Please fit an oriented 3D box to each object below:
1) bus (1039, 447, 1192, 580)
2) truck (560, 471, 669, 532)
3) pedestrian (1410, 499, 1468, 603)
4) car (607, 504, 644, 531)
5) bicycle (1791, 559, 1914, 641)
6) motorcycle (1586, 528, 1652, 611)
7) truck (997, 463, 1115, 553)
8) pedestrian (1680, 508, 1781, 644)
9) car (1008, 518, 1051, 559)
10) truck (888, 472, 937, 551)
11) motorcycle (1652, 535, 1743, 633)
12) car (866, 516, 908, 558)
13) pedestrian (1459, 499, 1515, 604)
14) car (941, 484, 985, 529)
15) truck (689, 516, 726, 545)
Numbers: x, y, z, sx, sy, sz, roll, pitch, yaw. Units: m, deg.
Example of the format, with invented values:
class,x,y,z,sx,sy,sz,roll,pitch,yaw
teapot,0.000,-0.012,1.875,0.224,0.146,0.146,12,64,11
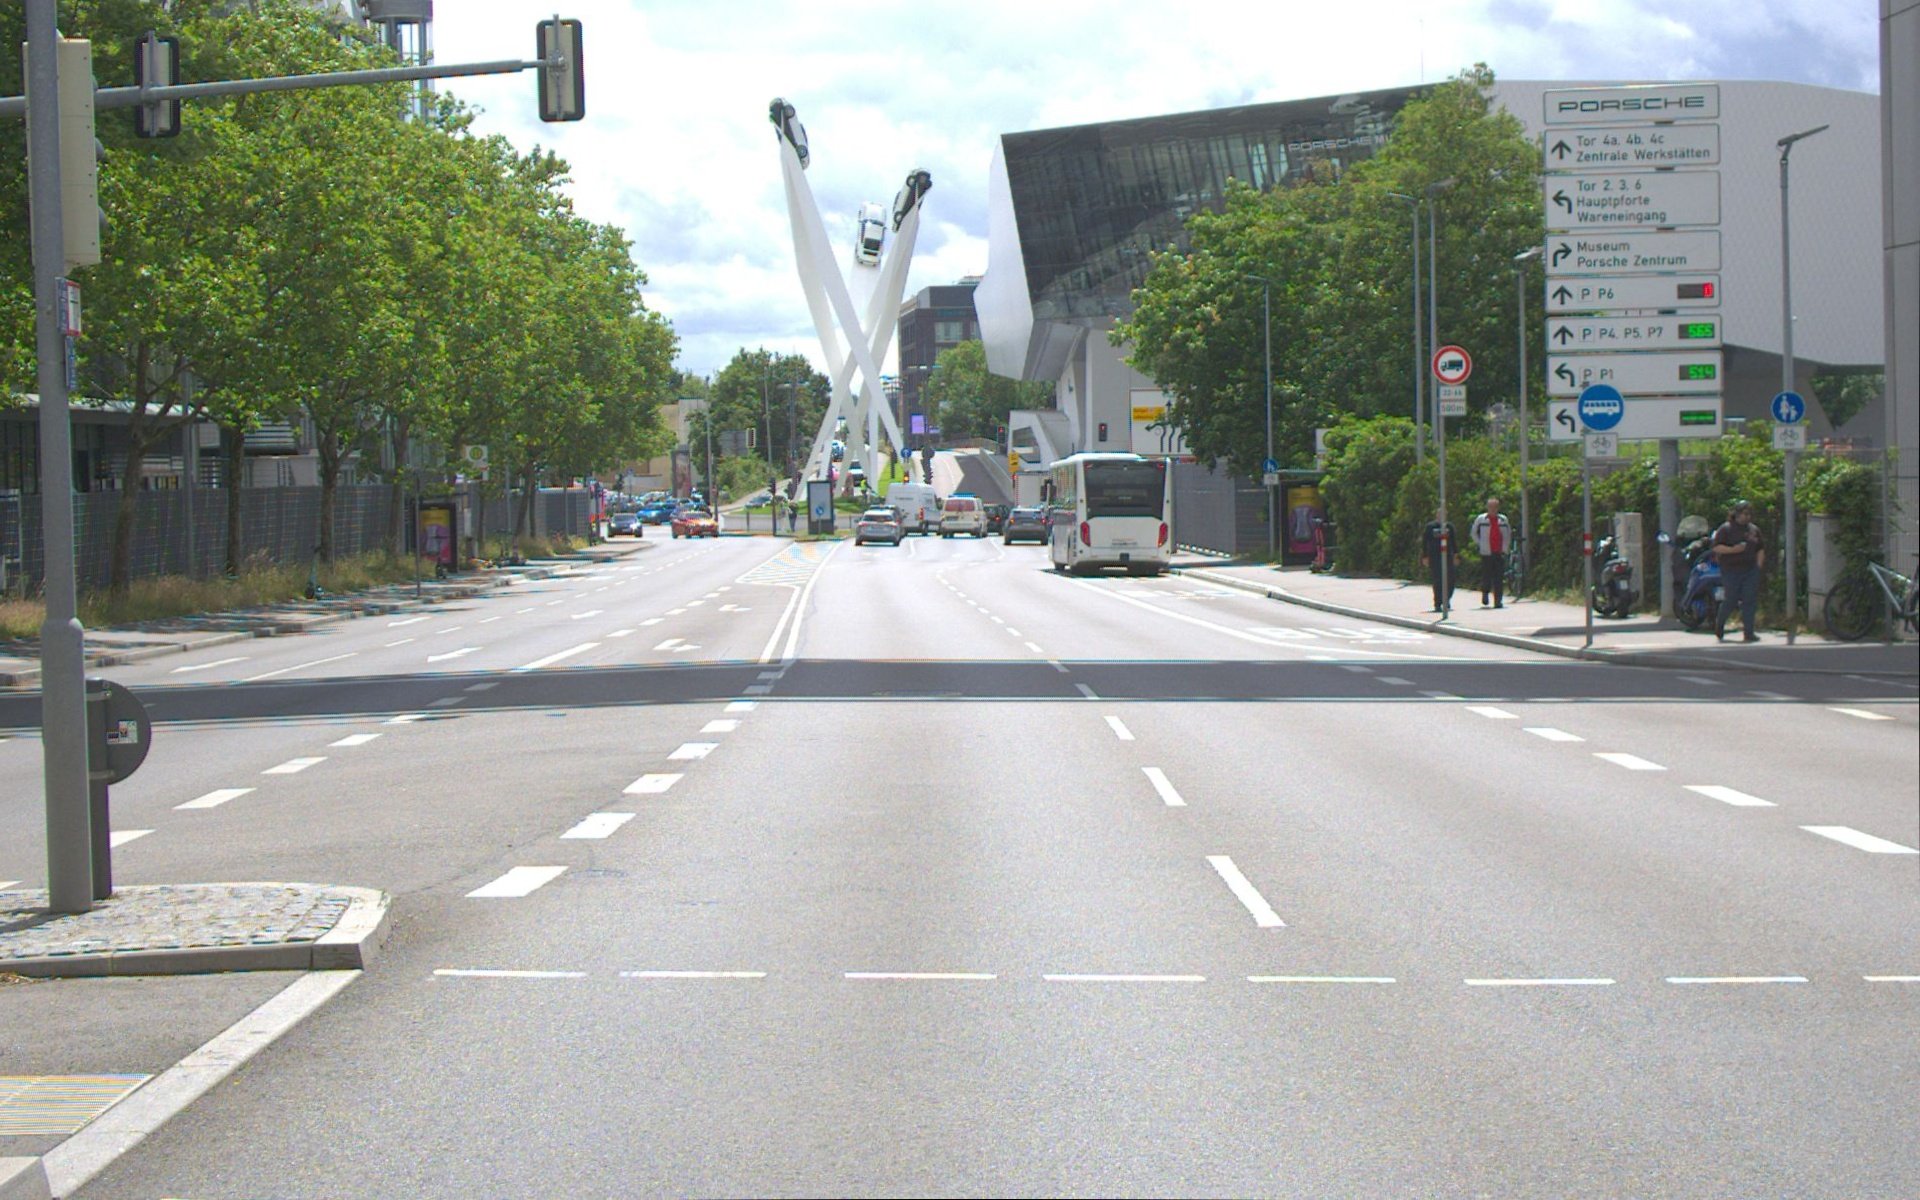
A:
class,x,y,z,sx,sy,sz,roll,pitch,yaw
bus,4.230,-2.391,96.264,3.452,3.531,10.607,0,1,-2
truck,-23.514,-6.695,234.340,7.058,3.880,2.485,1,0,-37
pedestrian,7.958,-0.818,57.125,0.820,1.701,0.881,0,1,-1
car,-19.813,-4.898,203.767,1.818,1.532,3.679,-2,1,-1
bicycle,10.620,-0.011,40.967,0.397,0.933,1.929,0,1,-19
motorcycle,10.097,-0.483,52.744,0.574,1.199,2.024,-2,2,-1
truck,4.857,-4.548,171.493,3.455,4.376,9.412,0,1,17
pedestrian,9.366,-0.300,41.784,0.849,1.619,0.954,1,1,41
car,2.936,-2.619,146.151,1.738,1.735,3.691,0,1,-1
truck,-2.370,-4.413,172.095,2.392,3.884,6.177,0,1,-1
motorcycle,9.615,-0.219,44.887,0.706,1.199,2.024,-2,2,-1
car,-3.040,-2.625,143.571,1.738,1.735,3.691,0,1,-1
pedestrian,8.772,-0.812,57.214,0.820,1.735,0.637,0,1,-1
car,0.135,-4.482,165.541,1.993,2.007,4.000,1,0,2
truck,-13.557,-3.727,184.710,1.583,1.532,3.679,0,1,-11
